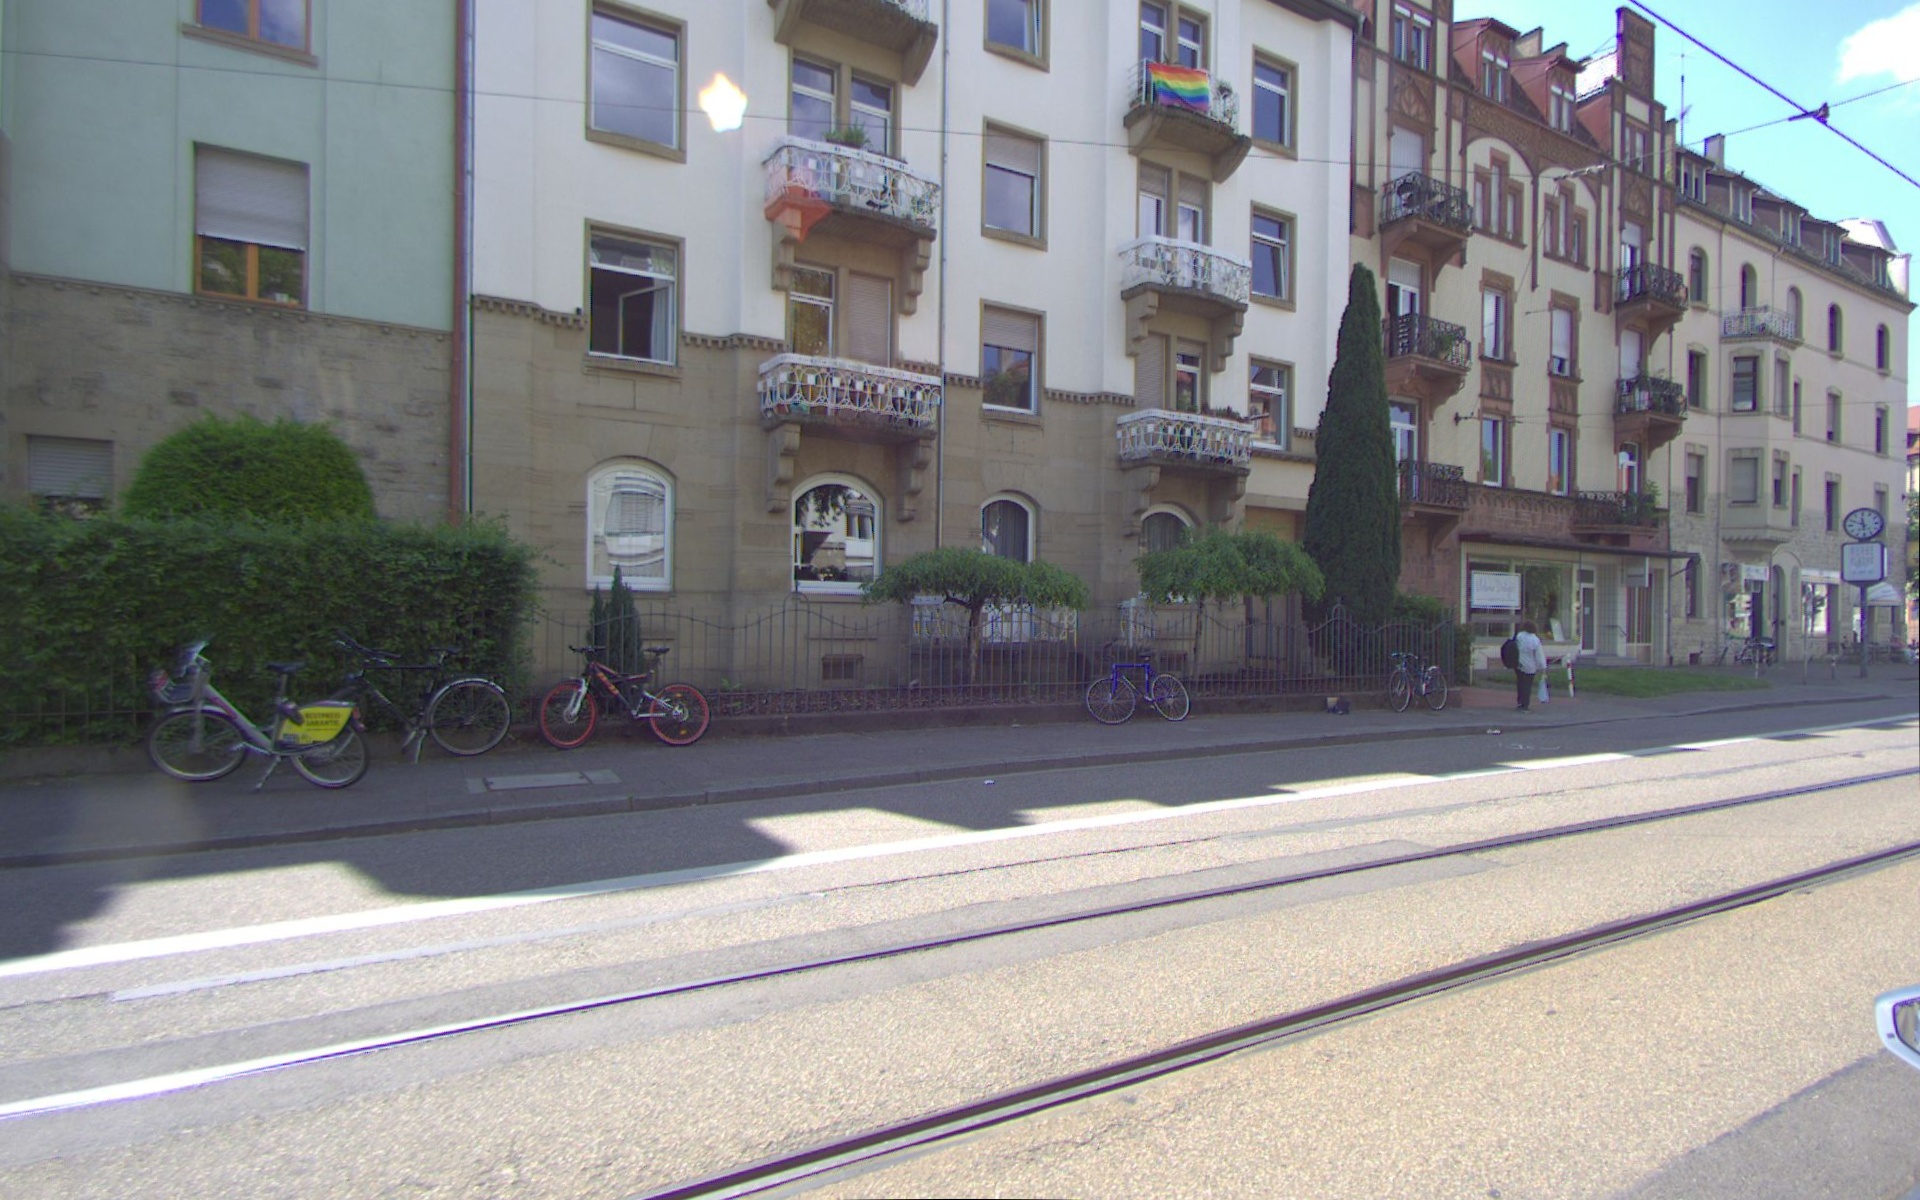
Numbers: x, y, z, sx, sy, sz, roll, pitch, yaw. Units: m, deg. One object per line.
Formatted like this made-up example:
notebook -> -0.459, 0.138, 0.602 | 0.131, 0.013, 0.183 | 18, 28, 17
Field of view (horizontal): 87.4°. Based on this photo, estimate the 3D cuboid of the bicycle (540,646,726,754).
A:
bicycle -> -3.236, 0.964, 10.010 | 1.706, 0.979, 0.411 | 1, 3, -31

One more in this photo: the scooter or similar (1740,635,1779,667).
scooter or similar -> 28.073, 1.788, 35.287 | 0.682, 1.058, 1.210 | 2, 0, 19

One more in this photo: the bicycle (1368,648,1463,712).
bicycle -> 7.504, 1.303, 16.505 | 1.820, 0.973, 0.408 | 3, 2, -31

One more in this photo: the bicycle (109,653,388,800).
bicycle -> -5.380, 0.933, 7.640 | 1.739, 1.012, 0.610 | 1, -1, 5

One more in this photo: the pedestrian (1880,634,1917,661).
pedestrian -> 39.019, 1.979, 41.778 | 0.872, 1.092, 0.912 | 1, -1, -29

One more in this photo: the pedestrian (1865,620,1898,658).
pedestrian -> 40.120, 1.706, 43.721 | 0.801, 1.616, 0.911 | 1, -1, -33

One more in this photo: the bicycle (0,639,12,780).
bicycle -> -8.011, 0.832, 7.140 | 1.751, 1.046, 0.604 | 1, 3, -31

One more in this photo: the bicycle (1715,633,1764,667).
bicycle -> 26.466, 1.692, 34.113 | 1.438, 1.080, 0.370 | 3, 0, -7

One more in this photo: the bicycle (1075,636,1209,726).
bicycle -> 2.445, 1.056, 13.420 | 1.751, 1.079, 0.604 | 1, 3, -31

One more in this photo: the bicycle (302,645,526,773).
bicycle -> -4.789, 0.926, 8.890 | 1.688, 1.013, 0.462 | 1, 3, -31

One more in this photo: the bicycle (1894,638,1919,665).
bicycle -> 41.743, 2.272, 44.102 | 0.534, 1.143, 1.682 | 1, -3, 23

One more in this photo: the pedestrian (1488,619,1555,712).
pedestrian -> 9.773, 1.113, 17.524 | 0.886, 1.563, 0.984 | 0, -1, 22
